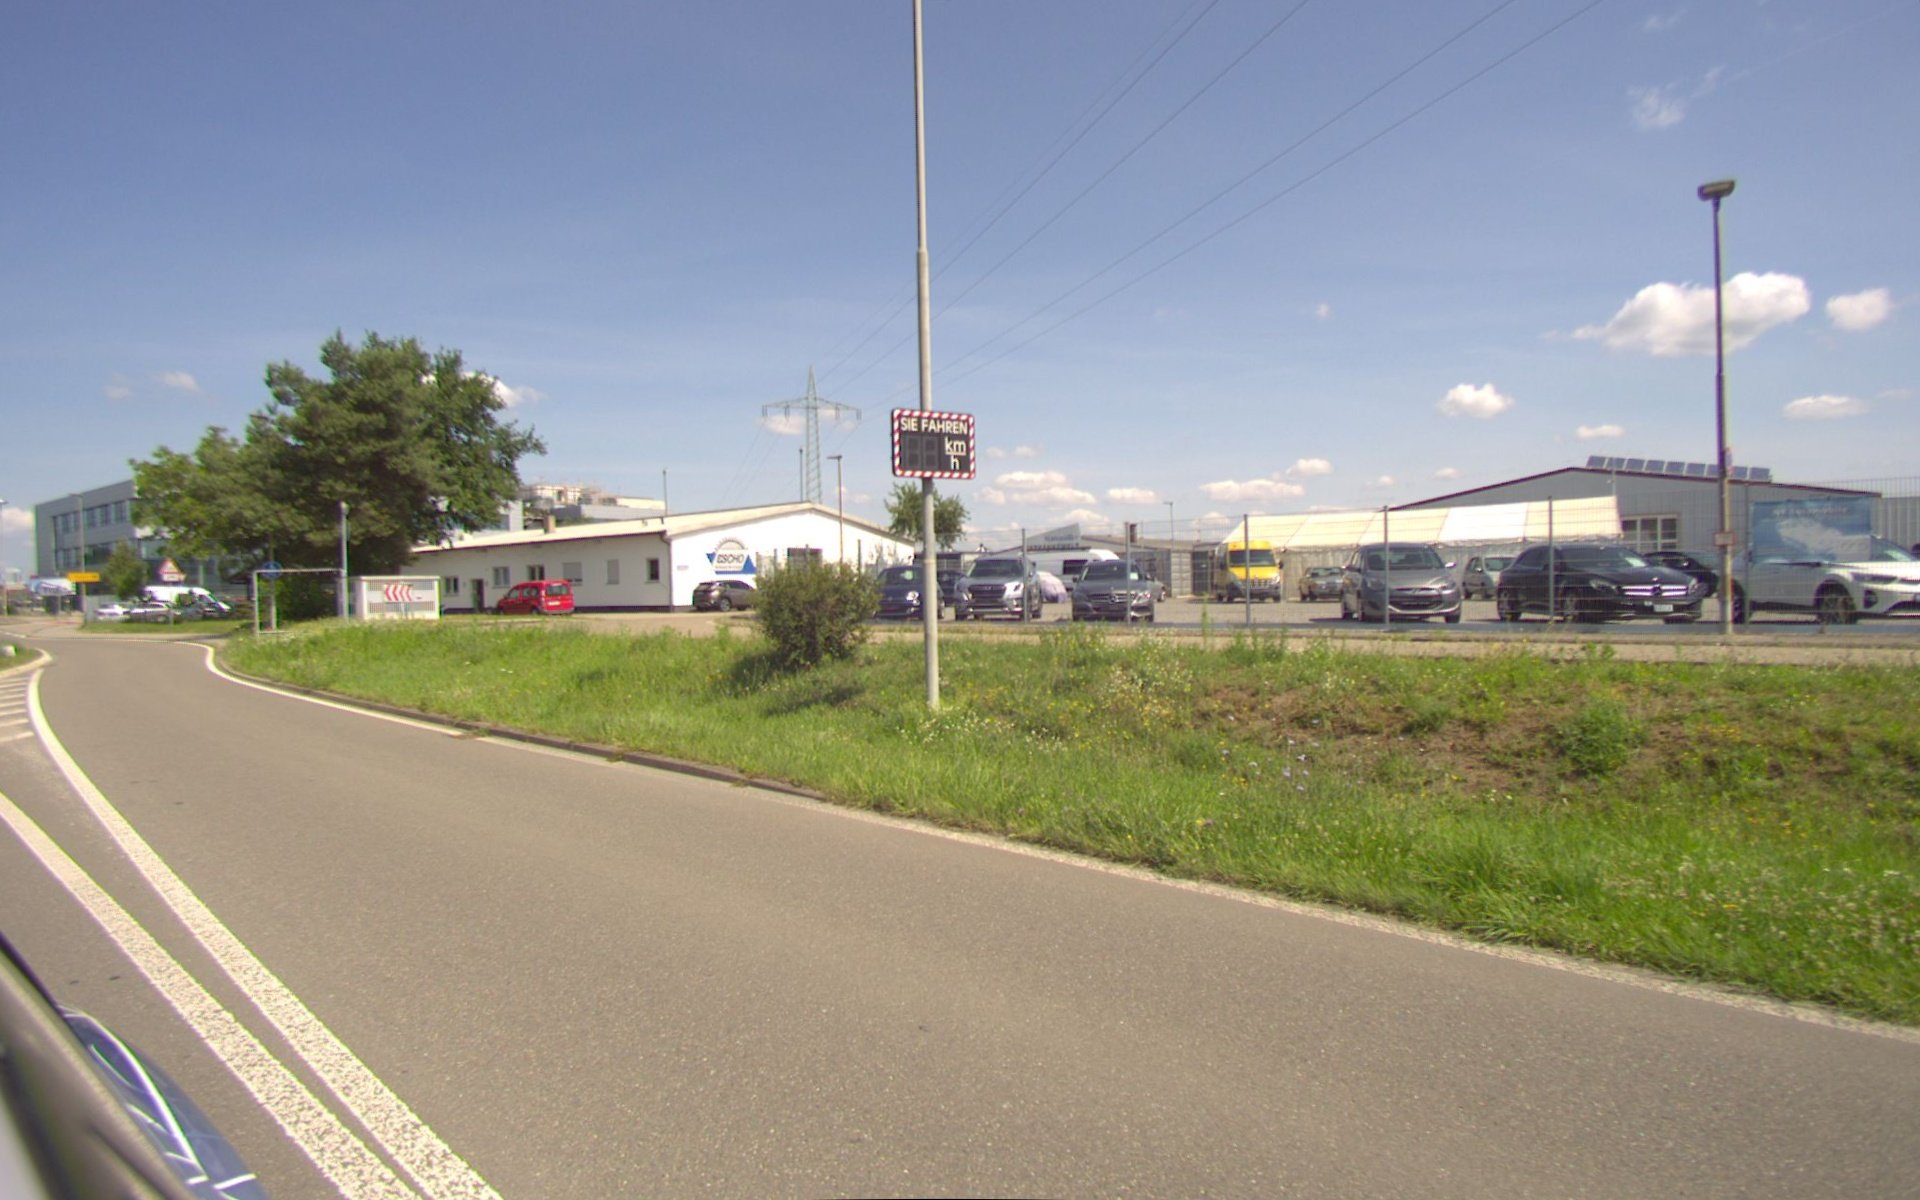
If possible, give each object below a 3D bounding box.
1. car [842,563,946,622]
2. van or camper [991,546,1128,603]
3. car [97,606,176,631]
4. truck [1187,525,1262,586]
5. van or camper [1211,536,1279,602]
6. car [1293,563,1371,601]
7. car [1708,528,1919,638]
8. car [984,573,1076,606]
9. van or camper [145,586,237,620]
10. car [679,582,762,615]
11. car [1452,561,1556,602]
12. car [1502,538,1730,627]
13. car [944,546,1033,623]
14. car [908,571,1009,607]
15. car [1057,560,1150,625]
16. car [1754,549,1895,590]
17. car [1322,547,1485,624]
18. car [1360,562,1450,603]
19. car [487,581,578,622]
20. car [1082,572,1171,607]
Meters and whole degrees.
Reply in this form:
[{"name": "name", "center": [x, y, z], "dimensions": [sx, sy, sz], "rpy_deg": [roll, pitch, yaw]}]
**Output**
[{"name": "car", "center": [-1.696, -0.229, 27.060], "dimensions": [1.783, 1.412, 3.555], "rpy_deg": [-1, 1, 14]}, {"name": "van or camper", "center": [4.906, -1.218, 50.674], "dimensions": [6.761, 2.619, 1.975], "rpy_deg": [-1, 1, 38]}, {"name": "car", "center": [-56.541, 1.247, 69.521], "dimensions": [2.001, 1.530, 3.943], "rpy_deg": [0, 1, 44]}, {"name": "truck", "center": [21.268, -3.520, 81.005], "dimensions": [2.840, 4.551, 8.491], "rpy_deg": [-1, 1, 35]}, {"name": "van or camper", "center": [11.229, -1.214, 40.250], "dimensions": [1.873, 2.393, 5.327], "rpy_deg": [-2, 1, 8]}, {"name": "car", "center": [13.949, -0.696, 38.176], "dimensions": [1.920, 1.320, 3.990], "rpy_deg": [-2, 1, 8]}, {"name": "car", "center": [14.250, -0.309, 16.223], "dimensions": [1.920, 1.552, 3.990], "rpy_deg": [-2, 1, 8]}, {"name": "car", "center": [3.315, -0.496, 48.438], "dimensions": [3.994, 1.444, 1.901], "rpy_deg": [-1, 1, 38]}, {"name": "van or camper", "center": [-61.317, 0.201, 80.842], "dimensions": [5.492, 2.516, 2.086], "rpy_deg": [-2, 1, -25]}, {"name": "car", "center": [-12.256, -0.095, 51.993], "dimensions": [1.930, 1.536, 3.957], "rpy_deg": [-1, 1, 32]}, {"name": "car", "center": [18.954, -0.658, 35.464], "dimensions": [1.920, 1.320, 3.990], "rpy_deg": [-2, 1, 8]}, {"name": "car", "center": [11.278, -0.320, 17.768], "dimensions": [1.922, 1.320, 3.988], "rpy_deg": [-2, 1, 10]}, {"name": "car", "center": [0.783, -0.396, 25.192], "dimensions": [1.703, 1.717, 4.098], "rpy_deg": [-2, 1, 8]}, {"name": "car", "center": [-0.093, -0.462, 44.006], "dimensions": [3.987, 1.444, 1.905], "rpy_deg": [-1, 1, 32]}, {"name": "car", "center": [3.324, -0.199, 23.398], "dimensions": [1.920, 1.320, 3.990], "rpy_deg": [-2, 1, 8]}, {"name": "car", "center": [34.082, -1.185, 40.059], "dimensions": [3.987, 1.453, 1.862], "rpy_deg": [-1, 1, 33]}, {"name": "car", "center": [8.579, -0.301, 19.958], "dimensions": [1.920, 1.320, 3.990], "rpy_deg": [-2, 1, 8]}, {"name": "car", "center": [15.898, -0.633, 36.387], "dimensions": [1.920, 1.320, 3.990], "rpy_deg": [-2, 1, 8]}, {"name": "car", "center": [-19.673, 0.074, 46.528], "dimensions": [4.221, 1.757, 1.976], "rpy_deg": [-1, 1, 36]}, {"name": "car", "center": [7.098, -0.453, 42.874], "dimensions": [1.998, 1.320, 3.948], "rpy_deg": [-1, 1, 39]}]
